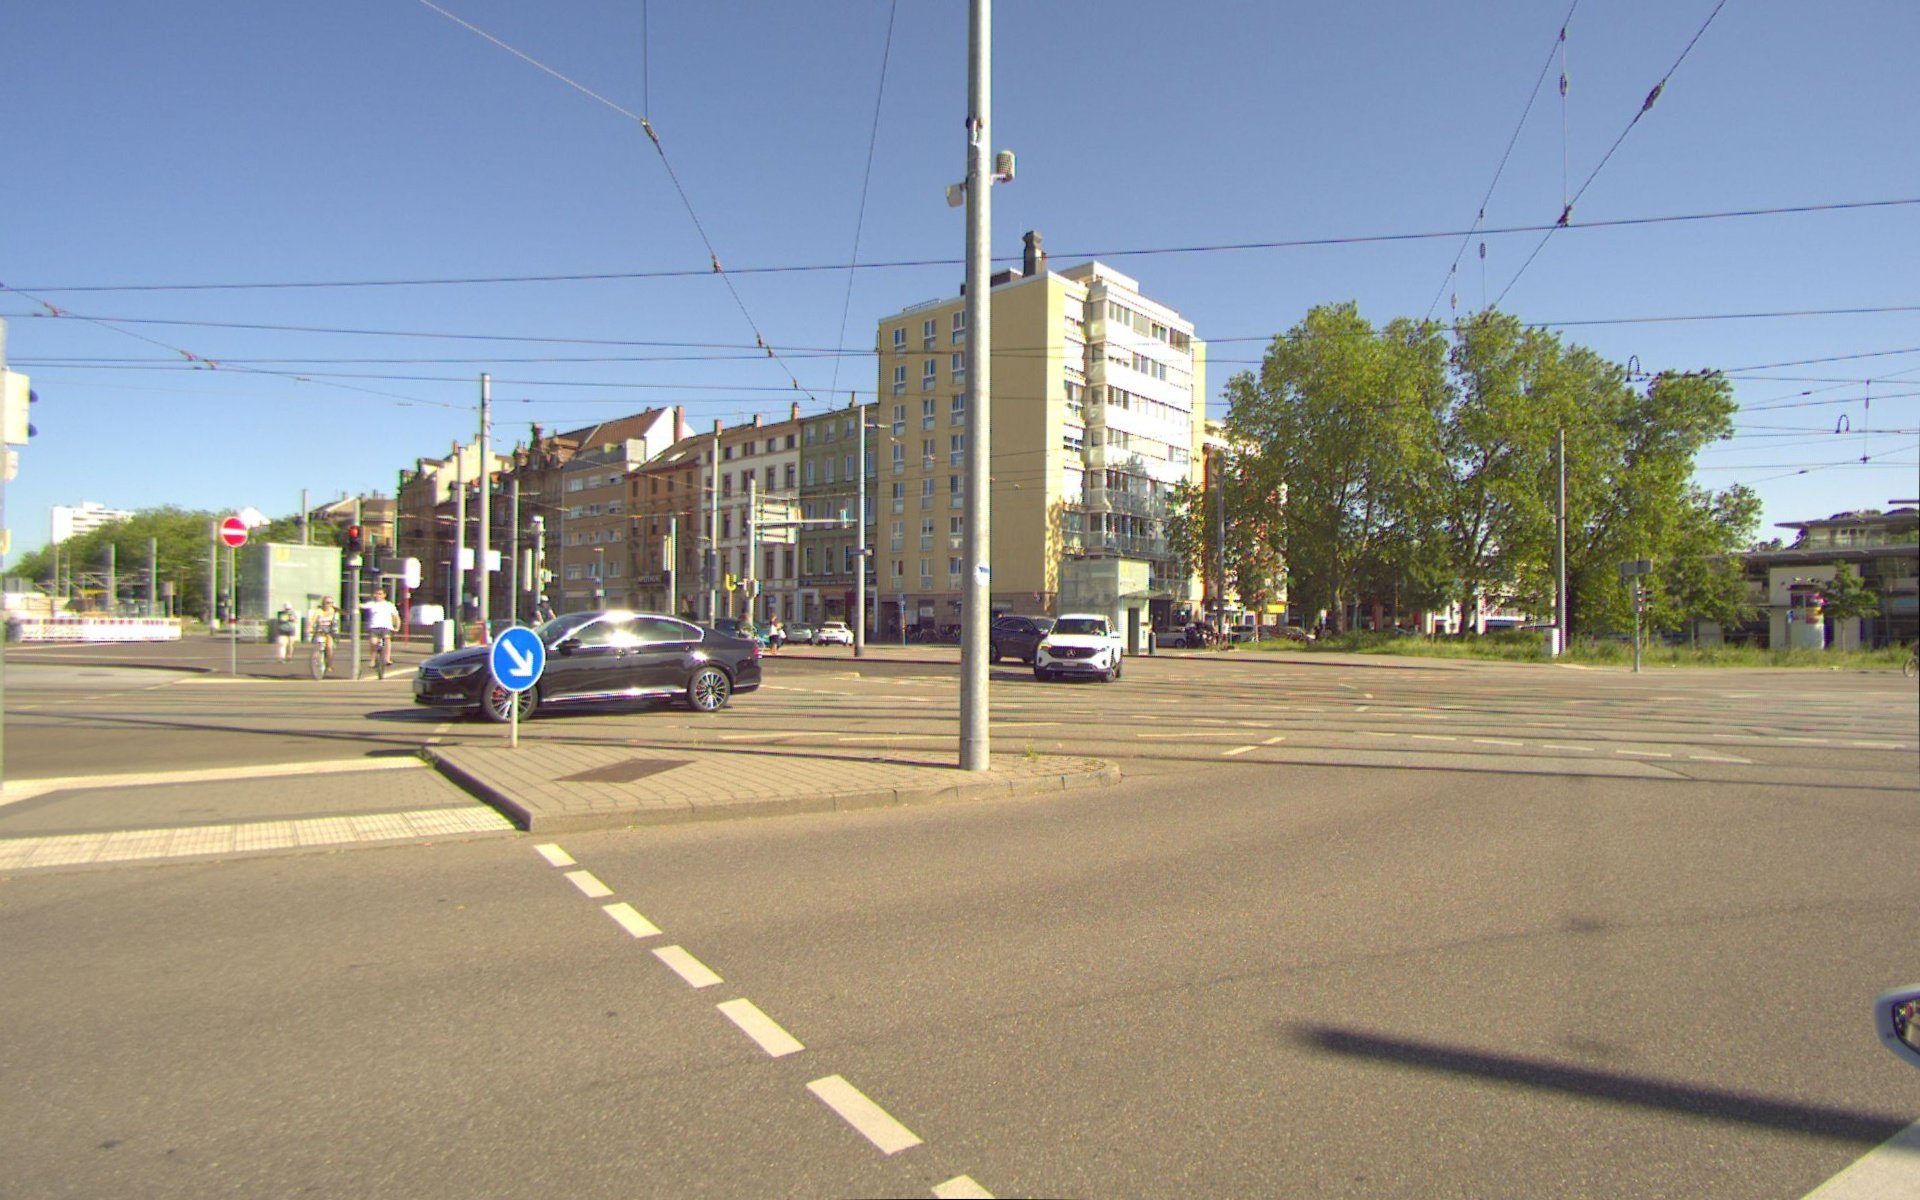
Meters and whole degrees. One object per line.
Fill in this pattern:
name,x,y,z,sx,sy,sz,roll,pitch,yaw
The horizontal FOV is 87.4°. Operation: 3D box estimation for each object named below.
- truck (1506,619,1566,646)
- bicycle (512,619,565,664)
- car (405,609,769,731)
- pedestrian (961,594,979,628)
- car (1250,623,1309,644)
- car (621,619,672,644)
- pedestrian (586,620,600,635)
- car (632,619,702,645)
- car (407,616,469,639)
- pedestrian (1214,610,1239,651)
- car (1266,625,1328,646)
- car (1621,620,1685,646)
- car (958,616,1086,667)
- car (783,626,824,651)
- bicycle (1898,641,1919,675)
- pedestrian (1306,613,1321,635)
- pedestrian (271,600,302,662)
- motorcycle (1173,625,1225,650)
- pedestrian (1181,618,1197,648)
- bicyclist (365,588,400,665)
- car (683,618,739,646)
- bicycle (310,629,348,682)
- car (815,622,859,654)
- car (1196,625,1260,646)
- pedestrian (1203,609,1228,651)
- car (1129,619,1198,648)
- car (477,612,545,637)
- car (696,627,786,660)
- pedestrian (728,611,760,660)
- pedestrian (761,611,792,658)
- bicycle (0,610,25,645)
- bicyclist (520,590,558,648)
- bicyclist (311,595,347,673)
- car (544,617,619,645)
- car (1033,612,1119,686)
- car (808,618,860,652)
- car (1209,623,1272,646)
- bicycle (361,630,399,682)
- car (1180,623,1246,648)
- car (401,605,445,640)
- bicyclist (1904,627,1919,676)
truck,50.954,2.854,88.978,1.976,2.251,4.183,2,0,-29
bicycle,-12.477,1.218,29.698,1.934,1.273,0.613,0,-2,39
car,-5.075,0.878,14.107,4.451,1.435,1.827,2,-1,-45
pedestrian,0.520,0.582,51.584,0.609,1.728,0.709,1,0,-37
car,24.665,2.582,77.520,3.936,1.519,1.993,0,-1,37
car,-23.212,2.308,74.372,3.946,1.687,1.987,2,0,45
pedestrian,-35.904,2.652,98.293,1.083,1.401,0.940,2,0,43
car,-16.509,1.798,56.453,4.538,1.346,1.786,0,-2,45
car,-33.106,1.723,63.678,3.935,1.378,1.907,0,-1,36
pedestrian,13.518,1.553,50.986,0.863,2.057,0.846,1,0,-42
car,24.884,2.591,74.191,3.936,1.519,1.939,0,-1,37
car,58.402,2.785,84.698,1.980,2.040,3.960,2,0,-35
car,2.042,1.393,34.508,2.024,1.598,4.587,2,-2,-34
car,-9.974,2.413,64.238,1.781,1.378,4.001,2,0,3
bicycle,35.388,2.117,36.876,1.725,1.199,0.538,0,-1,-16
pedestrian,34.039,2.282,96.789,1.089,2.040,1.175,2,0,33
pedestrian,-18.164,0.825,27.089,0.601,1.629,0.709,1,0,-29
motorcycle,13.023,2.054,54.896,1.272,1.193,2.954,2,0,-22
pedestrian,12.964,1.883,56.938,0.745,1.643,0.653,2,0,22
bicyclist,-12.190,0.549,21.181,0.589,1.570,0.988,1,-1,-31
car,-17.121,2.190,68.990,3.946,1.687,1.987,2,0,45
bicycle,-13.033,1.125,20.774,0.609,1.003,2.456,2,-2,-31
car,-7.470,2.296,61.446,1.960,1.775,4.001,2,0,3
car,18.774,2.451,70.355,3.936,1.407,1.993,0,-1,37
pedestrian,12.827,1.502,50.434,0.863,2.057,0.846,1,0,-42
car,13.192,2.142,65.066,3.936,1.830,1.993,0,-1,37
car,-26.065,1.417,58.277,3.935,1.378,1.907,0,-1,36
car,-10.119,1.964,46.338,3.935,1.378,1.907,0,-1,36
pedestrian,-8.778,1.424,40.818,0.981,1.929,0.986,2,0,-29
pedestrian,-7.266,1.362,39.711,0.979,1.823,0.989,2,0,-21
bicycle,-36.839,1.055,38.609,0.358,1.287,1.502,2,0,1
bicyclist,-12.451,0.567,29.707,0.783,1.697,0.757,0,-1,39
bicyclist,-12.907,0.684,20.560,0.570,1.549,0.948,1,0,-32
car,-20.042,1.610,53.121,3.935,1.378,1.907,0,-1,36
car,2.985,1.183,25.473,1.963,1.662,4.568,1,-1,8
car,-5.847,1.627,47.191,1.876,1.477,4.600,1,-1,0
car,20.107,2.453,72.082,3.936,1.519,1.993,0,-1,37
bicycle,-12.267,1.151,21.218,0.609,1.003,2.456,2,-2,-31
car,17.127,2.360,68.033,3.936,1.585,1.993,0,-1,37
car,-51.194,2.124,95.786,4.847,3.149,1.991,2,0,40
bicyclist,35.179,1.870,36.828,0.666,1.766,0.574,0,1,-15
